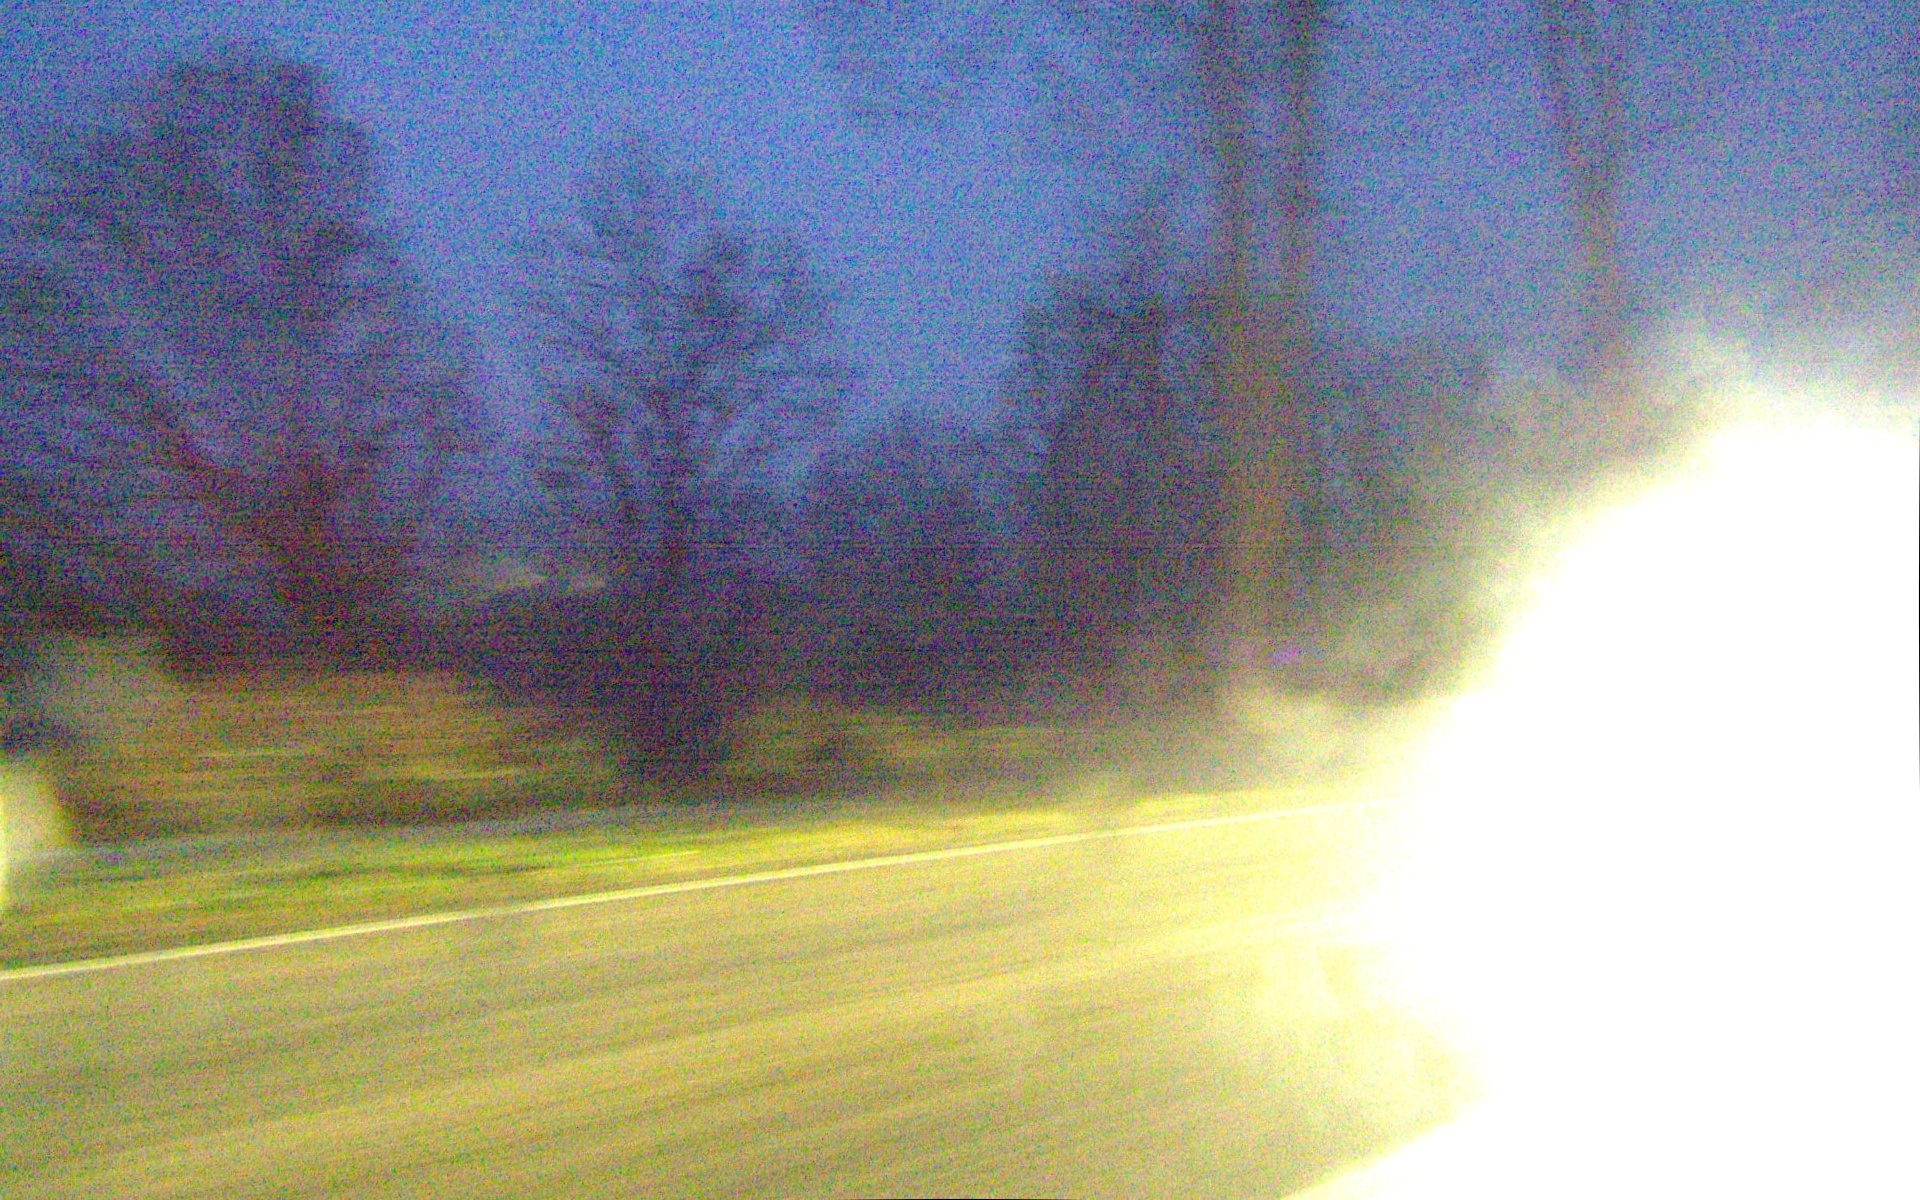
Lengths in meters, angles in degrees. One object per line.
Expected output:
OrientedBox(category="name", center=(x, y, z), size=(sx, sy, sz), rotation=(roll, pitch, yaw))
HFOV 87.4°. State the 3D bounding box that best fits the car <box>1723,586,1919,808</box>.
OrientedBox(category="car", center=(9.051, 0.790, 9.253), size=(3.911, 1.743, 1.834), rotation=(1, -1, -29))
